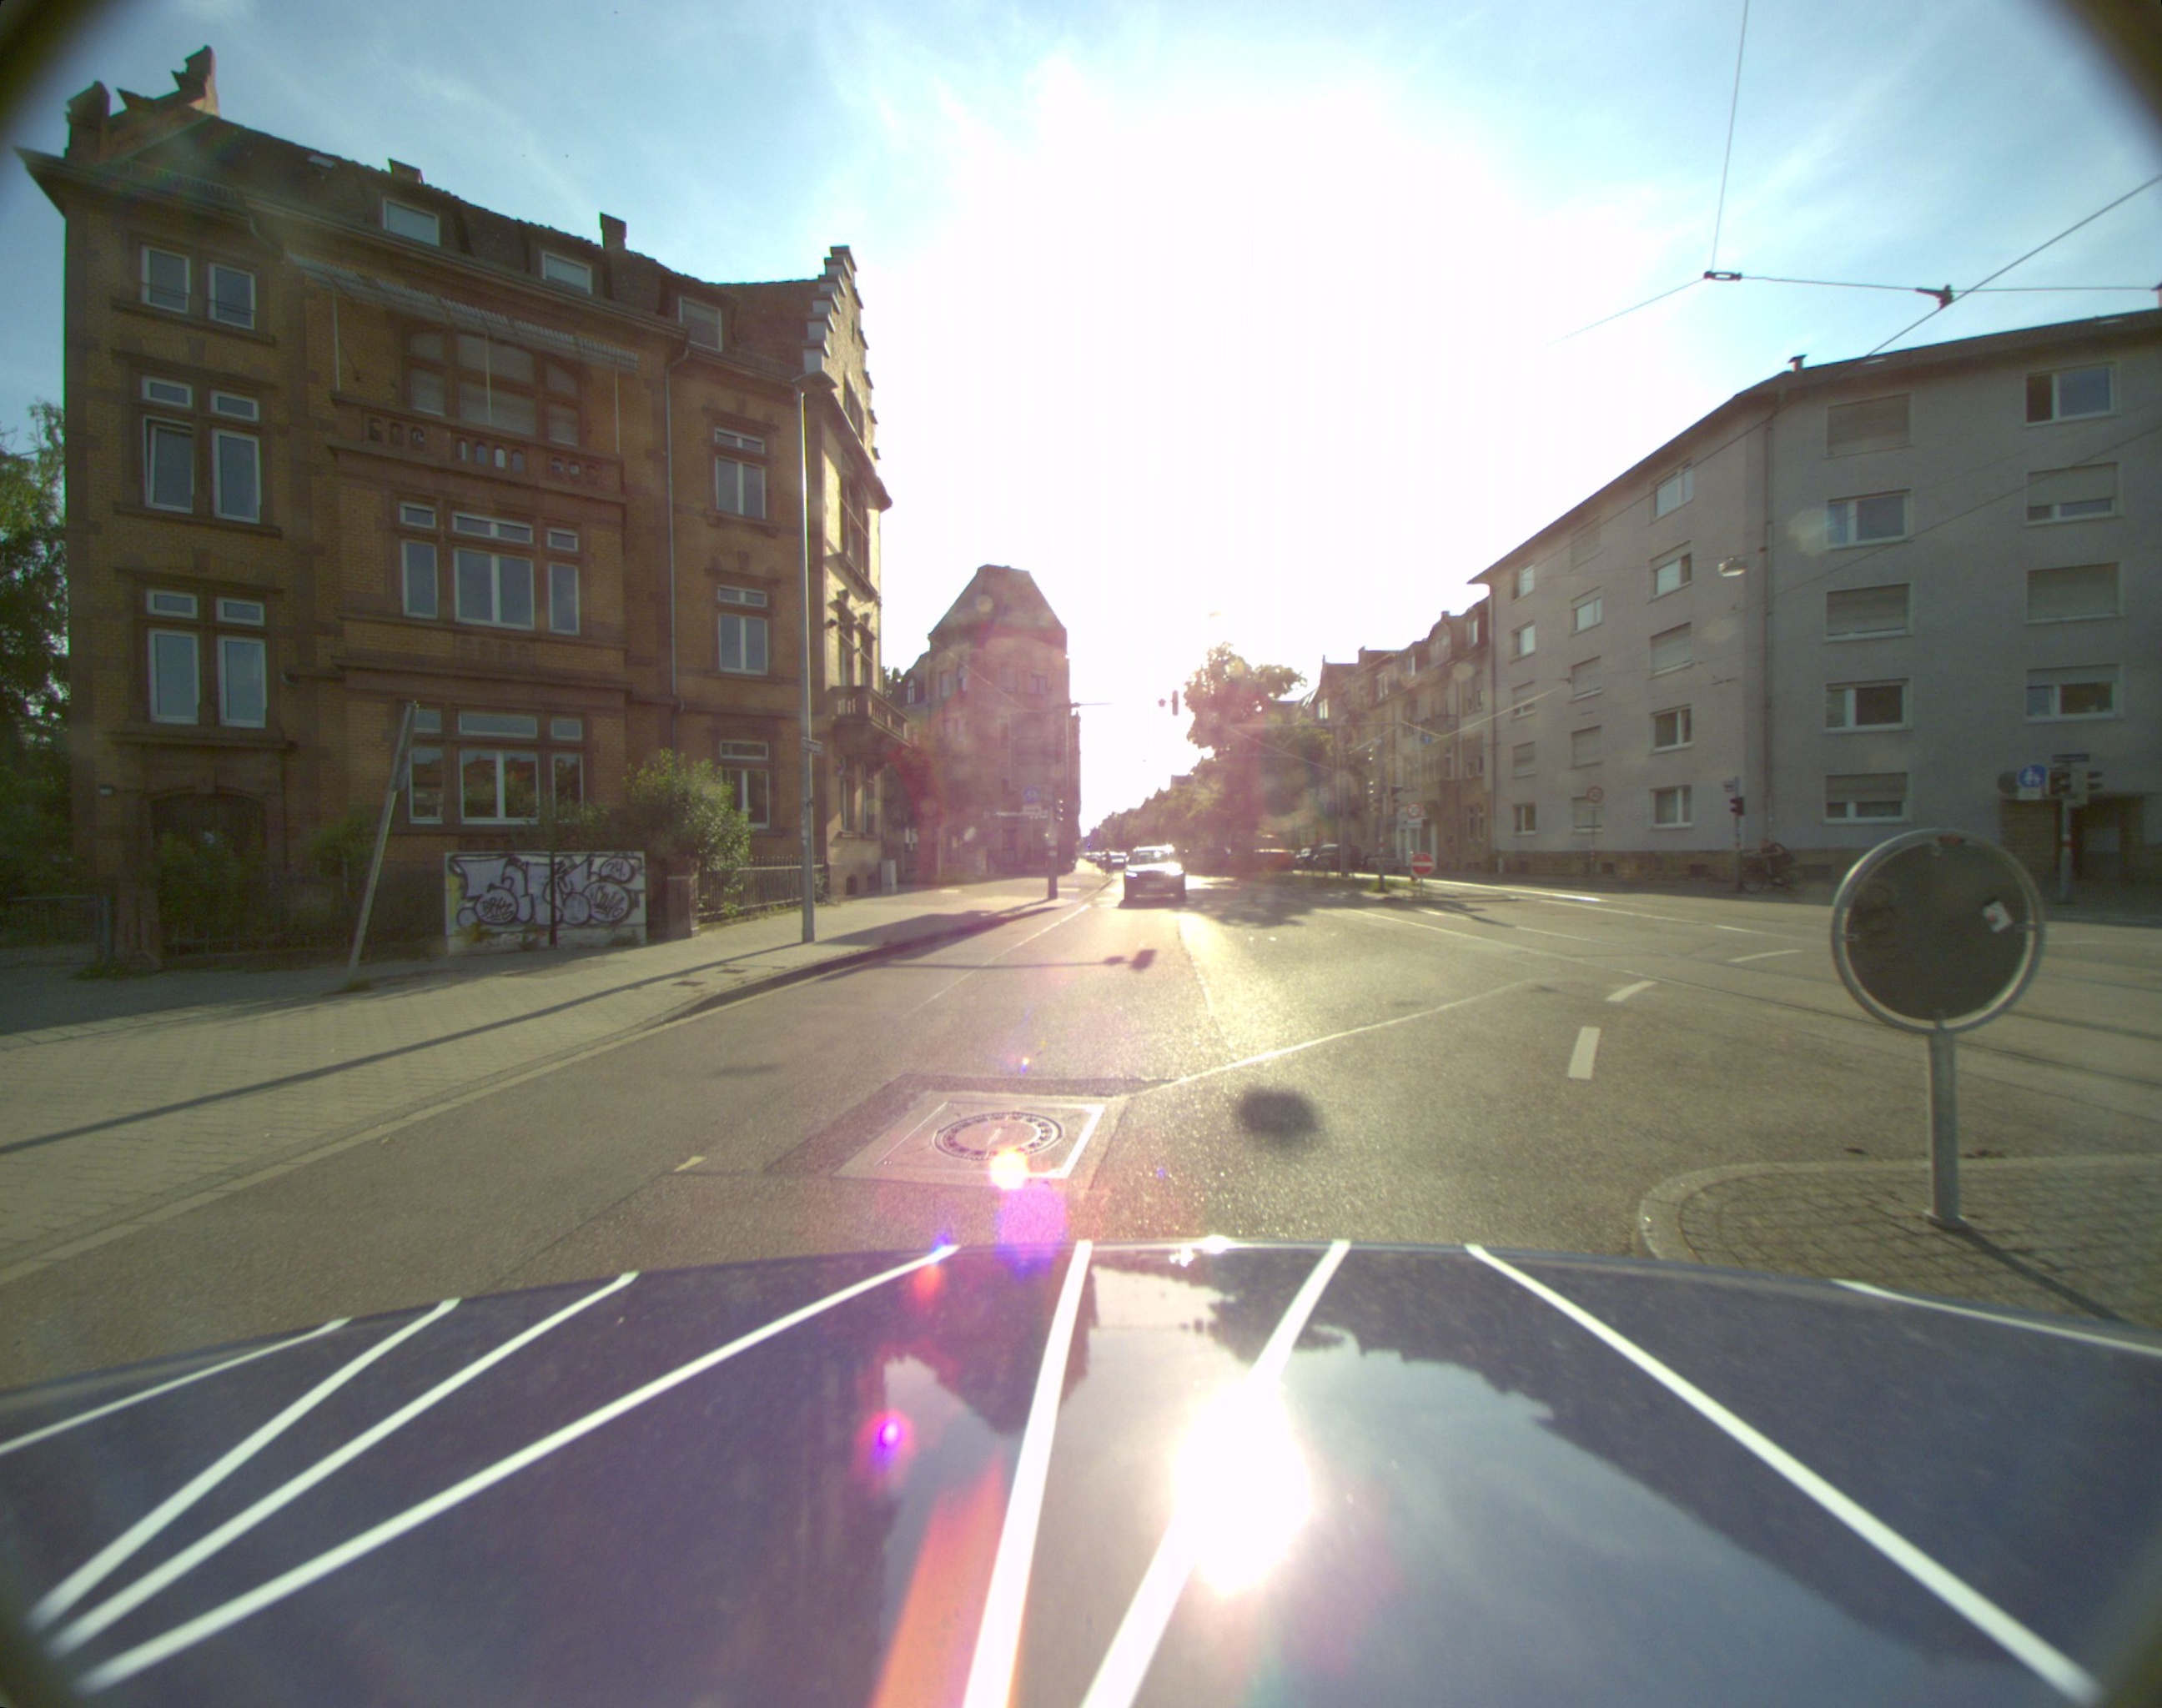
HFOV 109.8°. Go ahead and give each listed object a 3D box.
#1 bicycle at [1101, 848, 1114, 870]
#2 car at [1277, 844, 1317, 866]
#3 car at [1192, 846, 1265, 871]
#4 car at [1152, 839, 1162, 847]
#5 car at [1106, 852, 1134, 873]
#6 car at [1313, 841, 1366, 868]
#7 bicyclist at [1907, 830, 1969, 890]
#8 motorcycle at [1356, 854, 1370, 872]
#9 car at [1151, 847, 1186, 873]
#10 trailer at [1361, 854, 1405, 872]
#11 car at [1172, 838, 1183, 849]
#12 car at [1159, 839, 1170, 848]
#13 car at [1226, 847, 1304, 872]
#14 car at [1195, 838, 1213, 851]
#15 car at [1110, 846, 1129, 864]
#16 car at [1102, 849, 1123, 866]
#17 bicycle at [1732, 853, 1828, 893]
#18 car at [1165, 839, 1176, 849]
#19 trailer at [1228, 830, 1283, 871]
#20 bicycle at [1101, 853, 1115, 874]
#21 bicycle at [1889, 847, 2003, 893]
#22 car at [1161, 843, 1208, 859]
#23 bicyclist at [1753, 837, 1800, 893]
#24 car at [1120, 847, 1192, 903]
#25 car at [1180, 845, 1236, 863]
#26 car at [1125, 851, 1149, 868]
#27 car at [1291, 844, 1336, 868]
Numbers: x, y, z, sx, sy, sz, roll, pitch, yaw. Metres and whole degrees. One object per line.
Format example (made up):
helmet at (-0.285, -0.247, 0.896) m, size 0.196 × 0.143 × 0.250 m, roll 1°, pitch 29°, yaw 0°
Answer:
bicycle at (1.614, 0.308, 45.786) m, size 0.574 × 1.290 × 0.689 m, roll -2°, pitch 1°, yaw 17°
car at (18.232, 0.099, 64.278) m, size 2.170 × 1.740 × 4.611 m, roll -2°, pitch 0°, yaw 2°
car at (10.560, 0.316, 54.715) m, size 4.704 × 1.680 × 2.176 m, roll -1°, pitch 0°, yaw 42°
car at (19.521, -2.744, 195.437) m, size 1.999 × 2.002 × 4.000 m, roll -2°, pitch 0°, yaw -1°
car at (3.070, 0.645, 60.338) m, size 1.840 × 1.494 × 4.265 m, roll -2°, pitch 0°, yaw -1°
car at (17.720, 0.015, 52.338) m, size 2.170 × 1.740 × 4.718 m, roll -2°, pitch 0°, yaw 2°
bicyclist at (23.979, 0.162, 21.280) m, size 0.852 × 1.633 × 0.815 m, roll -2°, pitch 1°, yaw 20°
motorcycle at (17.994, 0.568, 48.464) m, size 0.636 × 1.074 × 1.736 m, roll -2°, pitch 0°, yaw 24°
car at (5.497, 0.368, 48.185) m, size 1.998 × 1.565 × 4.001 m, roll -2°, pitch 0°, yaw 5°
trailer at (18.179, 0.503, 45.794) m, size 1.444 × 0.891 × 2.879 m, roll -6°, pitch 0°, yaw 0°
car at (19.034, -2.082, 149.908) m, size 1.998 × 2.002 × 4.001 m, roll -2°, pitch 0°, yaw 3°
car at (19.090, -2.408, 173.806) m, size 1.999 × 2.002 × 4.000 m, roll -2°, pitch 0°, yaw -1°
car at (10.477, 0.297, 43.399) m, size 3.942 × 1.352 × 1.676 m, roll 0°, pitch 1°, yaw 36°
car at (19.243, -1.453, 119.044) m, size 1.998 × 2.002 × 4.000 m, roll -2°, pitch 0°, yaw 0°
car at (4.457, 0.137, 89.534) m, size 1.999 × 2.002 × 3.999 m, roll -1°, pitch 1°, yaw 0°
car at (3.325, 0.343, 81.001) m, size 1.999 × 1.772 × 3.999 m, roll -1°, pitch 0°, yaw -1°
bicycle at (20.524, 0.570, 22.353) m, size 1.912 × 1.104 × 0.736 m, roll -2°, pitch -1°, yaw 21°
car at (18.974, -2.145, 161.199) m, size 1.998 × 2.002 × 4.001 m, roll -2°, pitch 0°, yaw 3°
trailer at (10.720, -0.195, 46.724) m, size 2.858 × 2.378 × 1.726 m, roll -2°, pitch 0°, yaw 31°
bicycle at (1.625, 0.572, 45.792) m, size 0.484 × 1.183 × 1.341 m, roll -2°, pitch 0°, yaw 17°
bicycle at (24.167, 0.447, 21.271) m, size 1.976 × 1.196 × 0.736 m, roll -2°, pitch 0°, yaw 21°
car at (10.754, -0.303, 78.839) m, size 4.260 × 1.414 × 2.176 m, roll -2°, pitch 0°, yaw 41°
bicyclist at (20.459, 0.312, 22.369) m, size 0.772 × 1.633 × 0.795 m, roll 0°, pitch 1°, yaw 20°
car at (2.110, 0.565, 22.348) m, size 1.839 × 1.472 × 4.000 m, roll -1°, pitch 0°, yaw 2°
car at (10.776, 0.010, 64.540) m, size 4.294 × 1.414 × 1.963 m, roll -2°, pitch 0°, yaw 41°
car at (5.576, 0.553, 76.174) m, size 1.999 × 1.565 × 3.999 m, roll -2°, pitch 0°, yaw -1°
car at (18.031, 0.161, 59.080) m, size 2.170 × 1.740 × 4.611 m, roll -2°, pitch 0°, yaw 2°
